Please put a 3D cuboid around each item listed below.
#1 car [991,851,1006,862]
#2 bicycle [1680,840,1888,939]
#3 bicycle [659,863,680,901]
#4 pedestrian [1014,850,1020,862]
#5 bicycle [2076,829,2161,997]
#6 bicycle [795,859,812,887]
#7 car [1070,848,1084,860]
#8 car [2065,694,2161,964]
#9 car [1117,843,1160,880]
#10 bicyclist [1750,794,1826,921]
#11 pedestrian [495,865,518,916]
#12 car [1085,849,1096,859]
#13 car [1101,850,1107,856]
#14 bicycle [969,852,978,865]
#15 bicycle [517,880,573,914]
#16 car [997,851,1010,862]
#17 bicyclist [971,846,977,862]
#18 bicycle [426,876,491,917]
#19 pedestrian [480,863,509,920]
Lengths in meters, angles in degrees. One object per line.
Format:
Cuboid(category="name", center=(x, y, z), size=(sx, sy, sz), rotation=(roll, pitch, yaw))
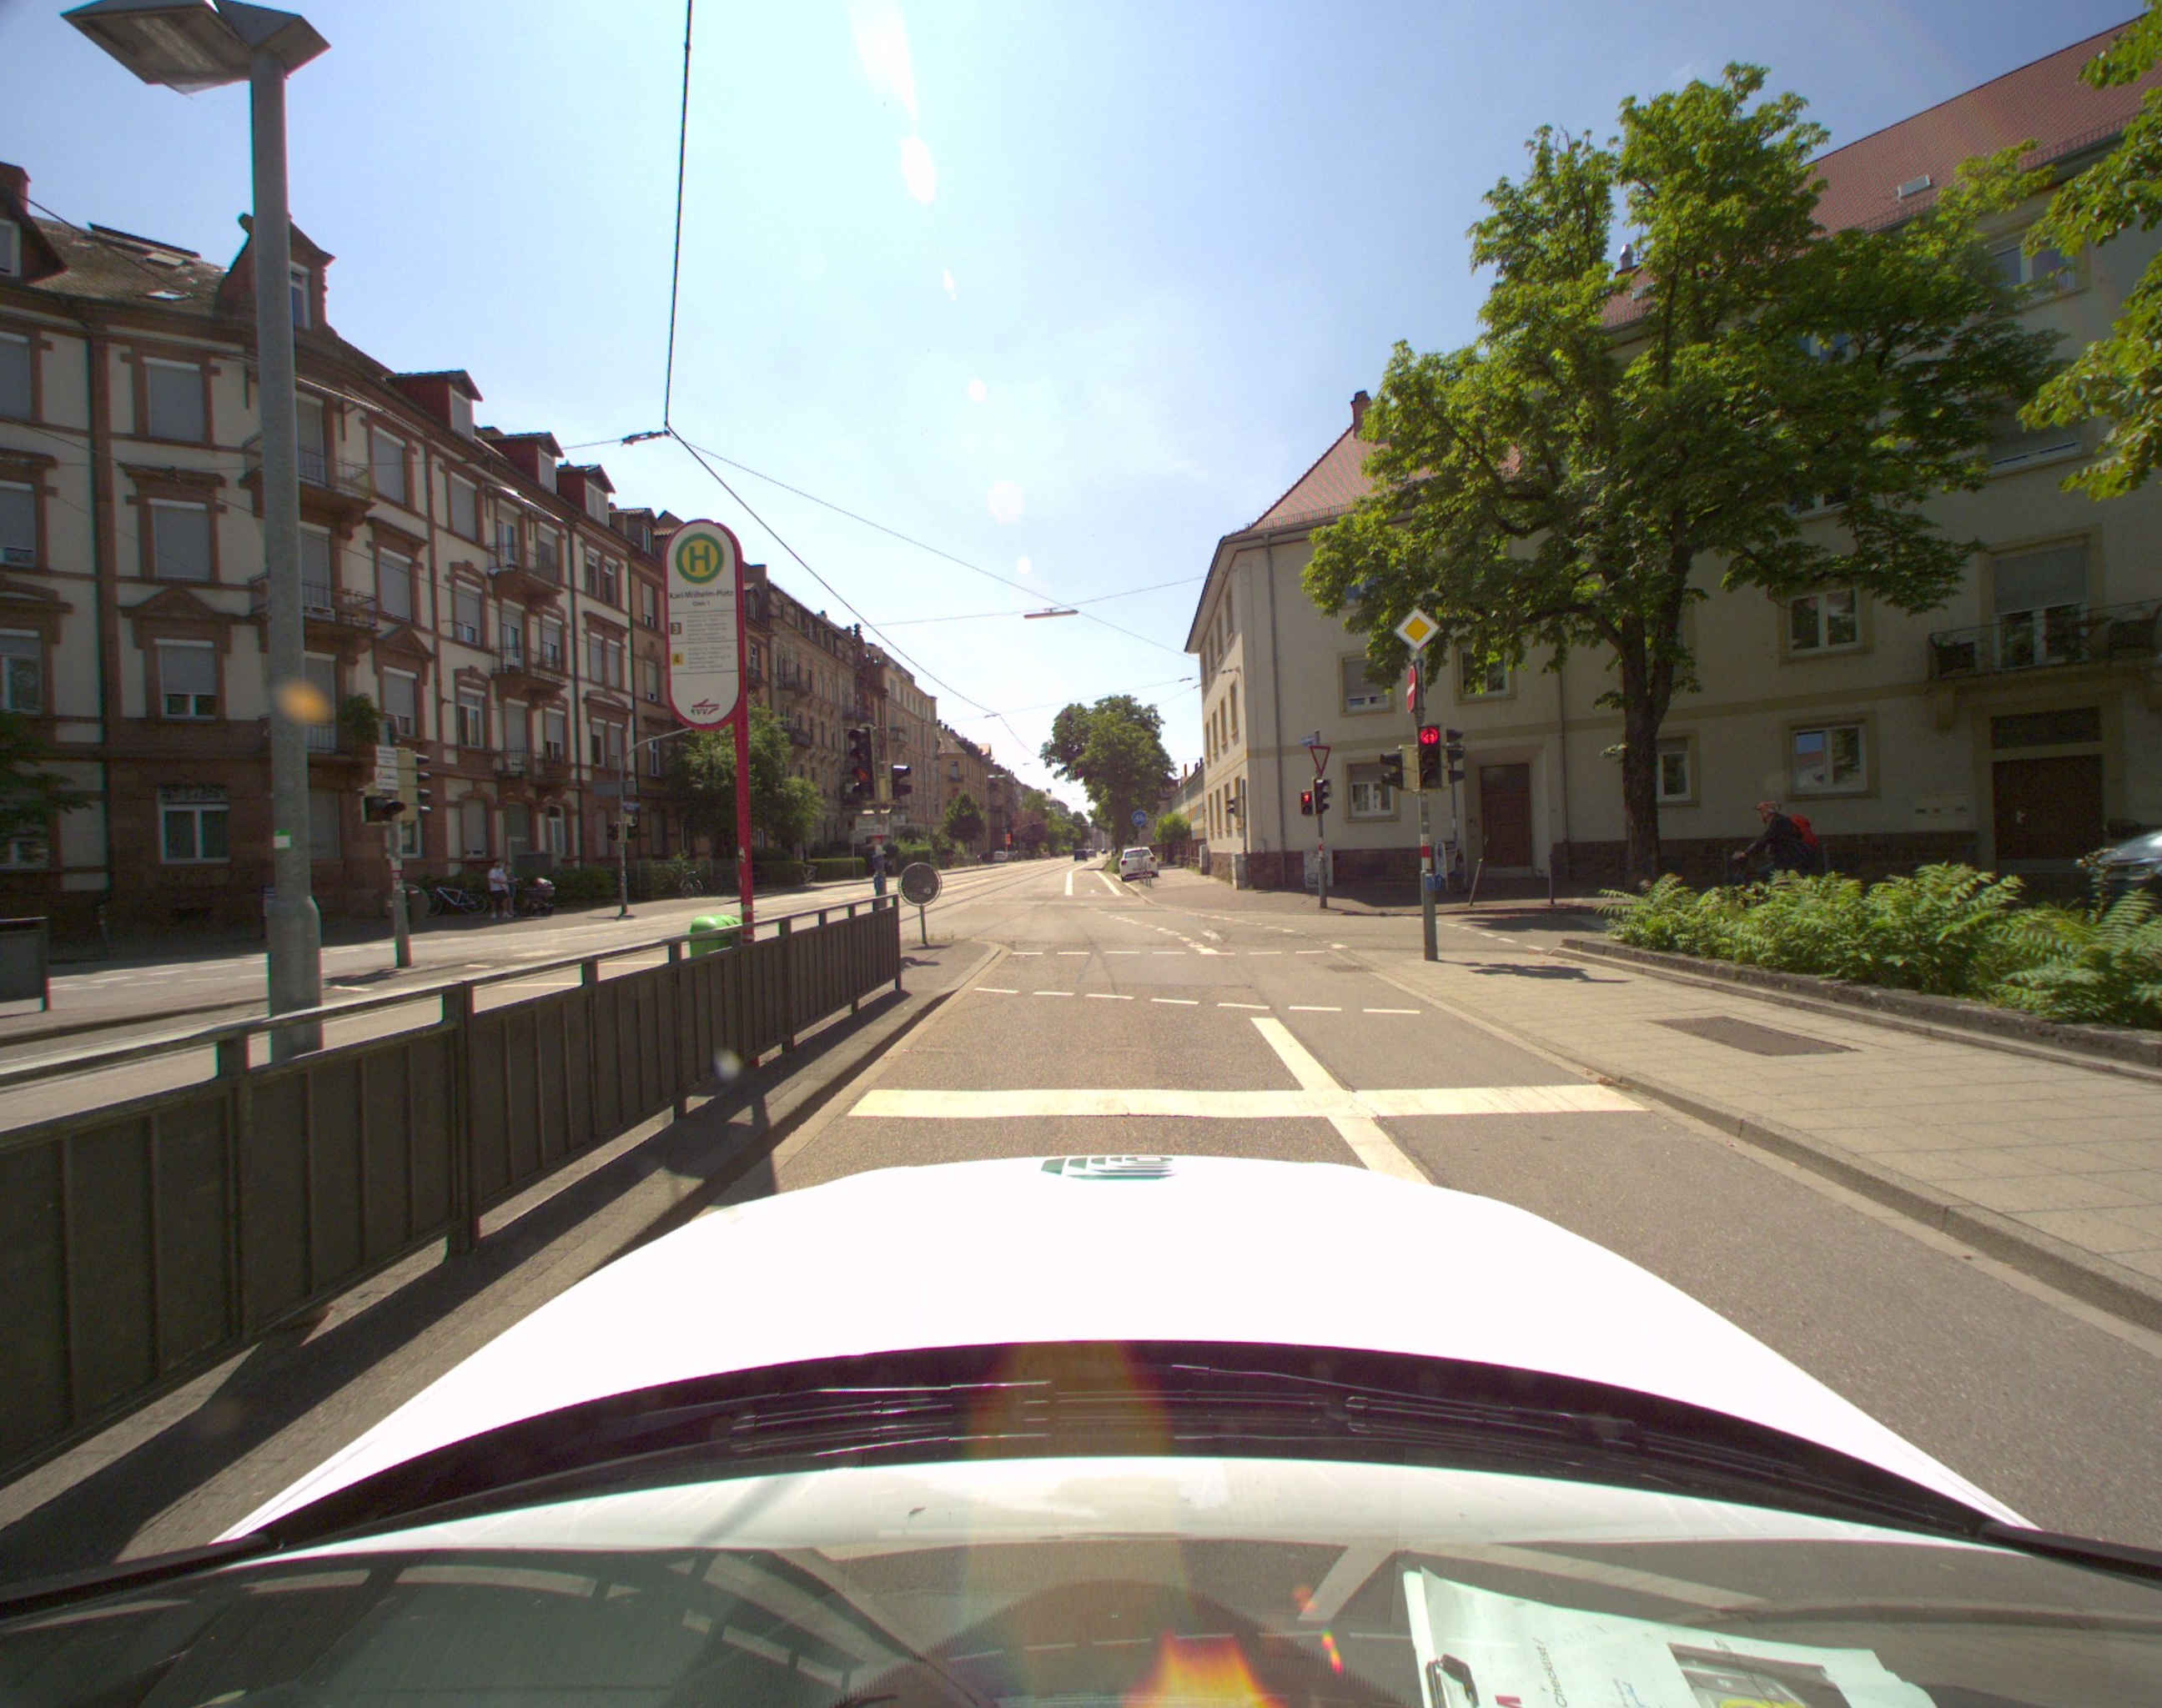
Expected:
Cuboid(category="car", center=(-11.860, 0.395, 116.980), size=(1.679, 1.472, 3.937), rotation=(-5, 0, 0))
Cuboid(category="bicycle", center=(9.408, 0.462, 11.020), size=(2.060, 1.236, 0.584), rotation=(-2, 0, 35))
Cuboid(category="bicycle", center=(-16.024, 1.062, 31.755), size=(0.617, 1.395, 2.289), rotation=(-1, 0, -24))
Cuboid(category="pedestrian", center=(-9.209, 0.288, 116.970), size=(0.675, 1.727, 0.678), rotation=(-1, 0, 1))
Cuboid(category="bicycle", center=(7.378, 0.386, 5.246), size=(0.331, 1.127, 1.288), rotation=(-1, -2, 2))
Cuboid(category="bicycle", center=(-14.346, 0.972, 42.086), size=(0.594, 1.356, 2.421), rotation=(-1, 0, -24))
Cuboid(category="car", center=(-0.446, 0.038, 103.670), size=(1.519, 1.444, 3.367), rotation=(-4, 0, 3))
Cuboid(category="car", center=(12.581, -0.299, 6.583), size=(2.009, 2.590, 5.784), rotation=(-1, 0, -37))
Cuboid(category="car", center=(2.649, 0.339, 38.073), size=(1.741, 1.472, 3.940), rotation=(-5, 0, 2))
Cuboid(category="bicyclist", center=(9.498, 0.051, 10.966), size=(0.687, 1.646, 0.584), rotation=(-2, -1, 36))
Cuboid(category="pedestrian", center=(-17.405, 1.104, 24.678), size=(0.510, 1.516, 0.464), rotation=(-1, -1, -40))
Cuboid(category="car", center=(1.731, 0.001, 145.876), size=(1.741, 1.472, 3.940), rotation=(-5, 0, 2))
Cuboid(category="car", center=(6.713, -0.210, 238.295), size=(1.623, 1.472, 3.563), rotation=(-5, 0, 0))
Cuboid(category="bicycle", center=(-11.527, 0.461, 87.450), size=(0.575, 1.388, 2.502), rotation=(-1, 0, 2))
Cuboid(category="bicycle", center=(-16.383, 1.298, 24.911), size=(1.410, 1.013, 0.384), rotation=(1, -2, -38))
Cuboid(category="car", center=(-11.886, 0.429, 125.256), size=(1.623, 1.472, 3.563), rotation=(-5, 0, 0))
Cuboid(category="bicyclist", center=(-11.529, 0.020, 87.426), size=(0.540, 1.763, 0.498), rotation=(-1, 0, 1))
Cuboid(category="bicycle", center=(-19.243, 1.298, 25.210), size=(1.522, 1.169, 0.362), rotation=(-1, 1, -25))
Cuboid(category="pedestrian", center=(-17.241, 1.100, 23.945), size=(0.657, 1.615, 0.464), rotation=(-1, 2, -40))
